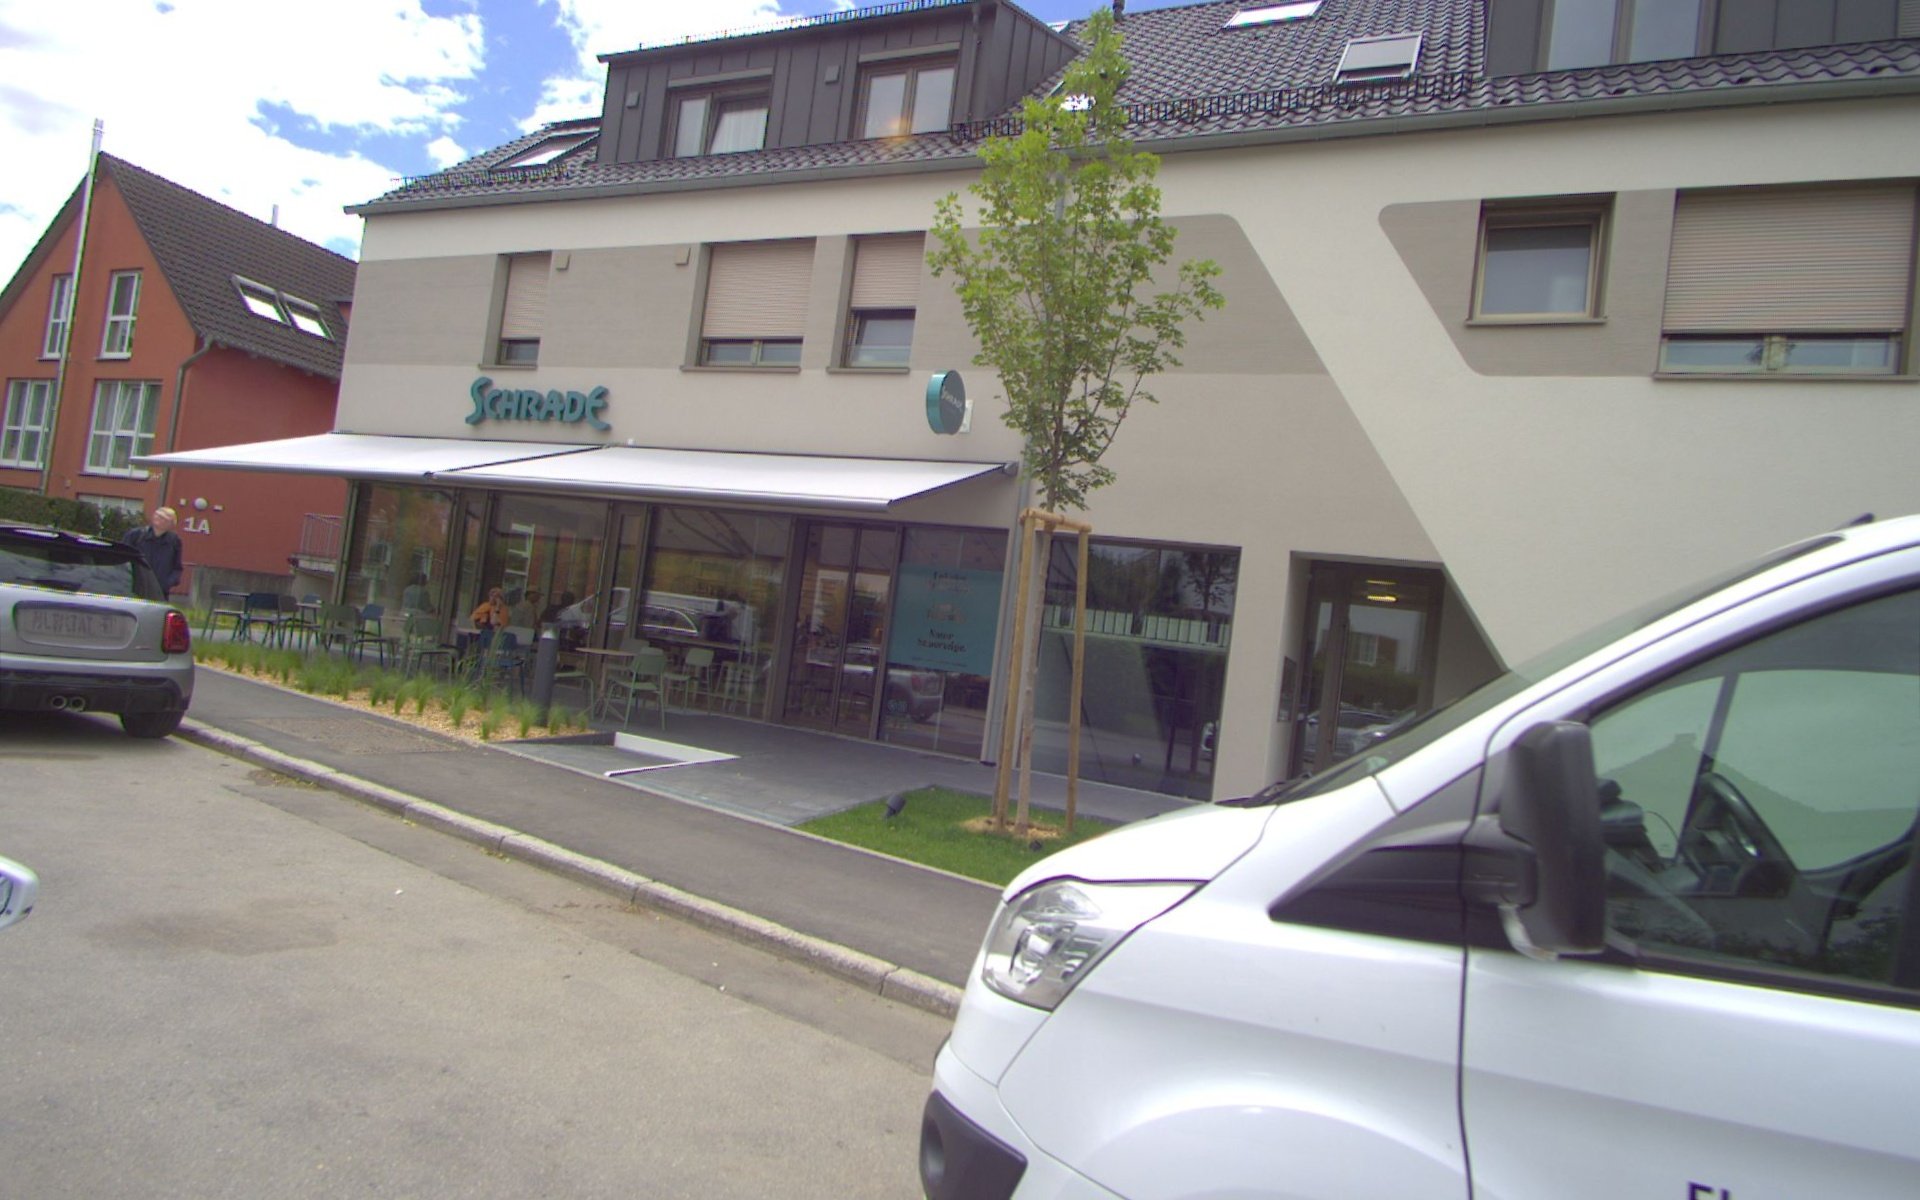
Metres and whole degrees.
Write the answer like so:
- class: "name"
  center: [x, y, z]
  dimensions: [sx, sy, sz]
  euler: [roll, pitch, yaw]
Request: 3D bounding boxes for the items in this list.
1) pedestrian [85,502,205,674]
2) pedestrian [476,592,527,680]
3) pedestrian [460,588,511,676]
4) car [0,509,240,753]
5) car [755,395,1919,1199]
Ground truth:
- class: "pedestrian"
  center: [-8.199, -0.113, 10.132]
  dimensions: [0.520, 1.623, 0.592]
  euler: [6, -4, 32]
- class: "pedestrian"
  center: [-6.440, 0.509, 14.141]
  dimensions: [0.318, 1.179, 0.422]
  euler: [6, -2, 28]
- class: "pedestrian"
  center: [-6.735, 0.464, 14.293]
  dimensions: [0.318, 1.195, 0.422]
  euler: [6, -2, 28]
- class: "car"
  center: [-7.427, 0.099, 7.503]
  dimensions: [3.591, 1.510, 1.749]
  euler: [6, -5, 27]
- class: "car"
  center: [2.233, 0.919, 1.595]
  dimensions: [4.818, 1.935, 1.965]
  euler: [5, -5, 29]
